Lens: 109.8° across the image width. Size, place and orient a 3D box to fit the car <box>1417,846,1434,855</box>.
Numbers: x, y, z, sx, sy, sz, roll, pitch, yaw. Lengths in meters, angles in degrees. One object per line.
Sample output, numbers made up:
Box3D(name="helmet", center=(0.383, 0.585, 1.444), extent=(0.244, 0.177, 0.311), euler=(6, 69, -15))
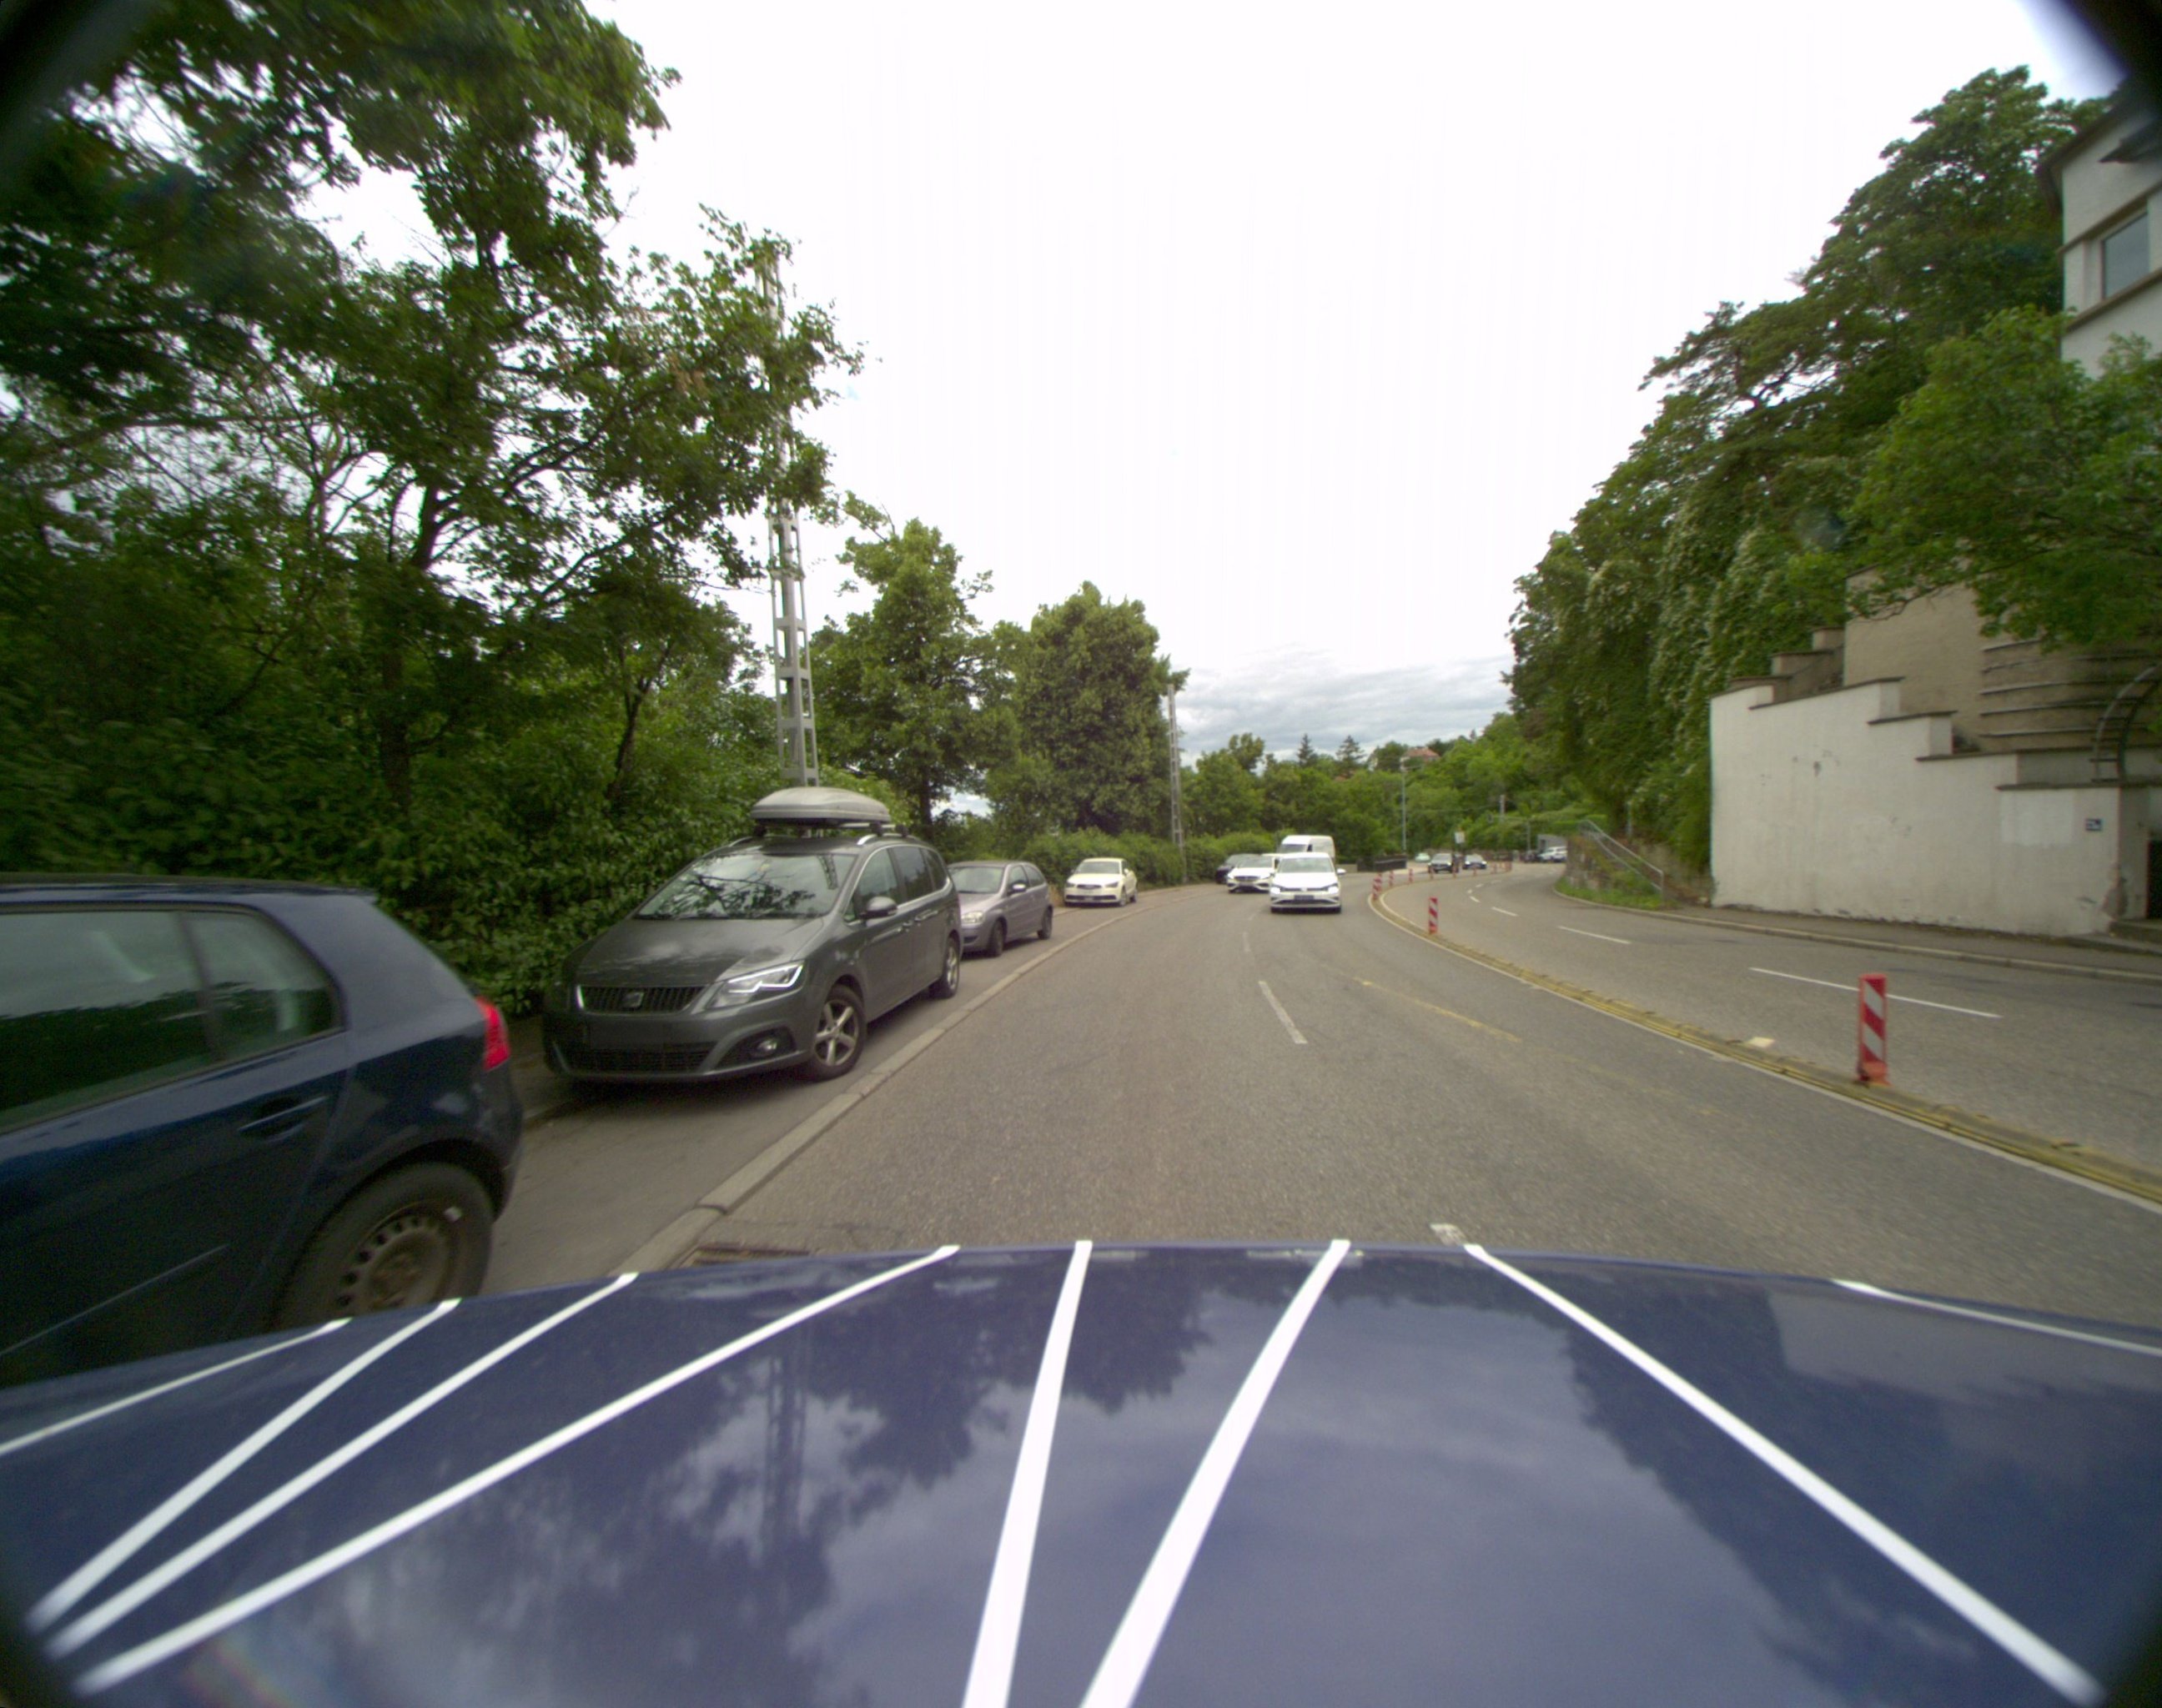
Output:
Box3D(name="car", center=(56.216, -0.534, 123.908), extent=(1.714, 1.458, 3.664), euler=(-3, -1, 11))

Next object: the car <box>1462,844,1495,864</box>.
Box3D(name="car", center=(39.119, -0.041, 74.730), extent=(1.995, 1.696, 4.007), euler=(-3, 0, 39))

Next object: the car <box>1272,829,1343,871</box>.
Box3D(name="car", center=(14.440, -0.296, 48.134), extent=(2.085, 2.509, 5.857), euler=(2, 2, 40))

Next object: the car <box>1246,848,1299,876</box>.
Box3D(name="car", center=(10.843, 0.411, 42.873), extent=(1.701, 1.456, 3.842), euler=(1, 1, 33))

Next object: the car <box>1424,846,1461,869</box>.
Box3D(name="car", center=(29.788, 0.270, 62.581), extent=(1.995, 1.696, 4.007), euler=(-3, 0, 36))

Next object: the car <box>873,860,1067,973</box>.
Box3D(name="car", center=(-1.618, 0.899, 12.555), extent=(1.643, 1.455, 4.004), euler=(-2, 0, 15))

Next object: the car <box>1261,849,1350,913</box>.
Box3D(name="car", center=(5.990, 0.645, 20.734), extent=(1.884, 1.569, 4.003), euler=(0, 1, 10))

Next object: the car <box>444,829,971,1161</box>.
Box3D(name="car", center=(-2.376, 0.771, 6.409), extent=(1.802, 1.761, 4.609), euler=(-2, 0, 5))

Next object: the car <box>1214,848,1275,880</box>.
Box3D(name="car", center=(8.231, 0.447, 37.963), extent=(1.701, 1.455, 4.672), euler=(0, 1, 29))

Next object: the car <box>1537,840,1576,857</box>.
Box3D(name="car", center=(51.698, -0.603, 82.650), extent=(1.862, 1.721, 4.765), euler=(-4, 0, 11))

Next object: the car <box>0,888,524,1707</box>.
Box3D(name="car", center=(-2.840, 0.892, 0.579), extent=(1.663, 1.478, 4.035), euler=(-2, 0, 3))

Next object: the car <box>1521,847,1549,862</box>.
Box3D(name="car", center=(52.339, 0.107, 87.705), extent=(1.714, 1.563, 2.960), euler=(-5, -1, 9))

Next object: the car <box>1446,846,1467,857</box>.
Box3D(name="car", center=(53.612, -0.309, 108.438), extent=(1.714, 1.458, 3.664), euler=(-3, -1, 11))

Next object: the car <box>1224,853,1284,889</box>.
Box3D(name="car", center=(7.095, 0.647, 30.835), extent=(1.795, 1.299, 4.106), euler=(-2, 0, 21))

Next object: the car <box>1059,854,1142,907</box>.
Box3D(name="car", center=(0.702, 0.724, 23.183), extent=(1.779, 1.410, 4.003), euler=(0, 1, 13))
